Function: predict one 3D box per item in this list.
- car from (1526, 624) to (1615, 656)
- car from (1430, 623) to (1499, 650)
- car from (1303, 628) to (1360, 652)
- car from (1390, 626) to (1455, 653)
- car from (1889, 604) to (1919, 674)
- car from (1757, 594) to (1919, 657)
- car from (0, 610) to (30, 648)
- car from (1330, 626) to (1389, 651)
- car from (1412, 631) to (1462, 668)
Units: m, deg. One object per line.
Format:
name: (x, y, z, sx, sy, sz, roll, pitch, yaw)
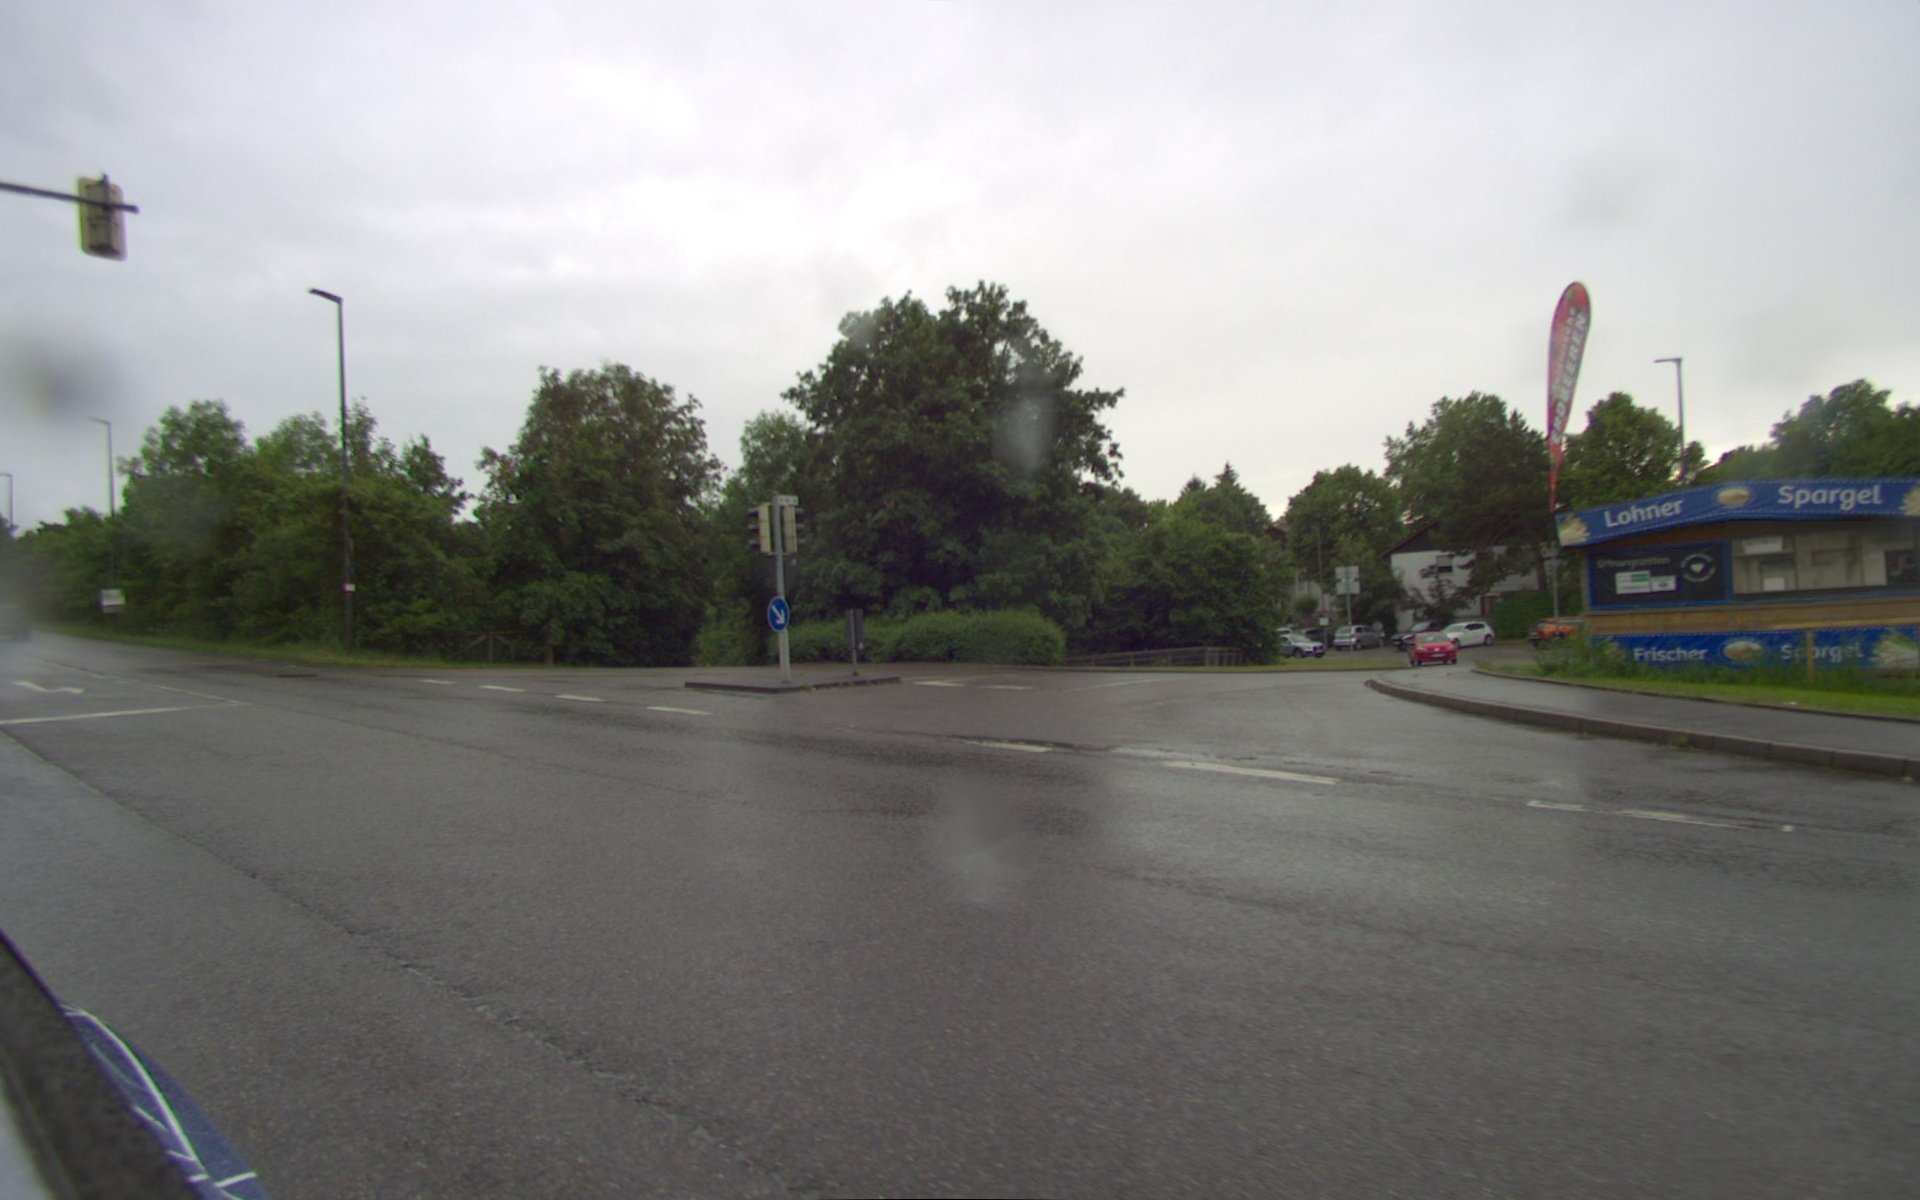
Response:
car: (30.337, 1.974, 50.344, 3.389, 1.522, 1.625, -1, -1, 9)
car: (29.109, 2.088, 58.396, 3.540, 1.522, 1.575, 0, -1, -23)
car: (25.053, 2.671, 68.238, 3.369, 1.522, 1.575, 0, -1, -23)
car: (27.809, 2.351, 60.843, 3.540, 1.522, 1.477, 0, -1, -23)
car: (23.592, 0.859, 22.721, 3.691, 1.586, 1.578, -1, -1, 27)
car: (26.340, 0.739, 29.620, 4.367, 1.779, 1.904, -1, -1, 27)
car: (-41.624, 1.235, 43.697, 3.867, 1.586, 1.715, -1, -1, 41)
car: (25.971, 2.492, 65.801, 3.369, 1.522, 1.575, 0, -1, -23)
car: (21.380, 2.190, 45.424, 1.639, 1.522, 3.579, -1, -1, 20)
